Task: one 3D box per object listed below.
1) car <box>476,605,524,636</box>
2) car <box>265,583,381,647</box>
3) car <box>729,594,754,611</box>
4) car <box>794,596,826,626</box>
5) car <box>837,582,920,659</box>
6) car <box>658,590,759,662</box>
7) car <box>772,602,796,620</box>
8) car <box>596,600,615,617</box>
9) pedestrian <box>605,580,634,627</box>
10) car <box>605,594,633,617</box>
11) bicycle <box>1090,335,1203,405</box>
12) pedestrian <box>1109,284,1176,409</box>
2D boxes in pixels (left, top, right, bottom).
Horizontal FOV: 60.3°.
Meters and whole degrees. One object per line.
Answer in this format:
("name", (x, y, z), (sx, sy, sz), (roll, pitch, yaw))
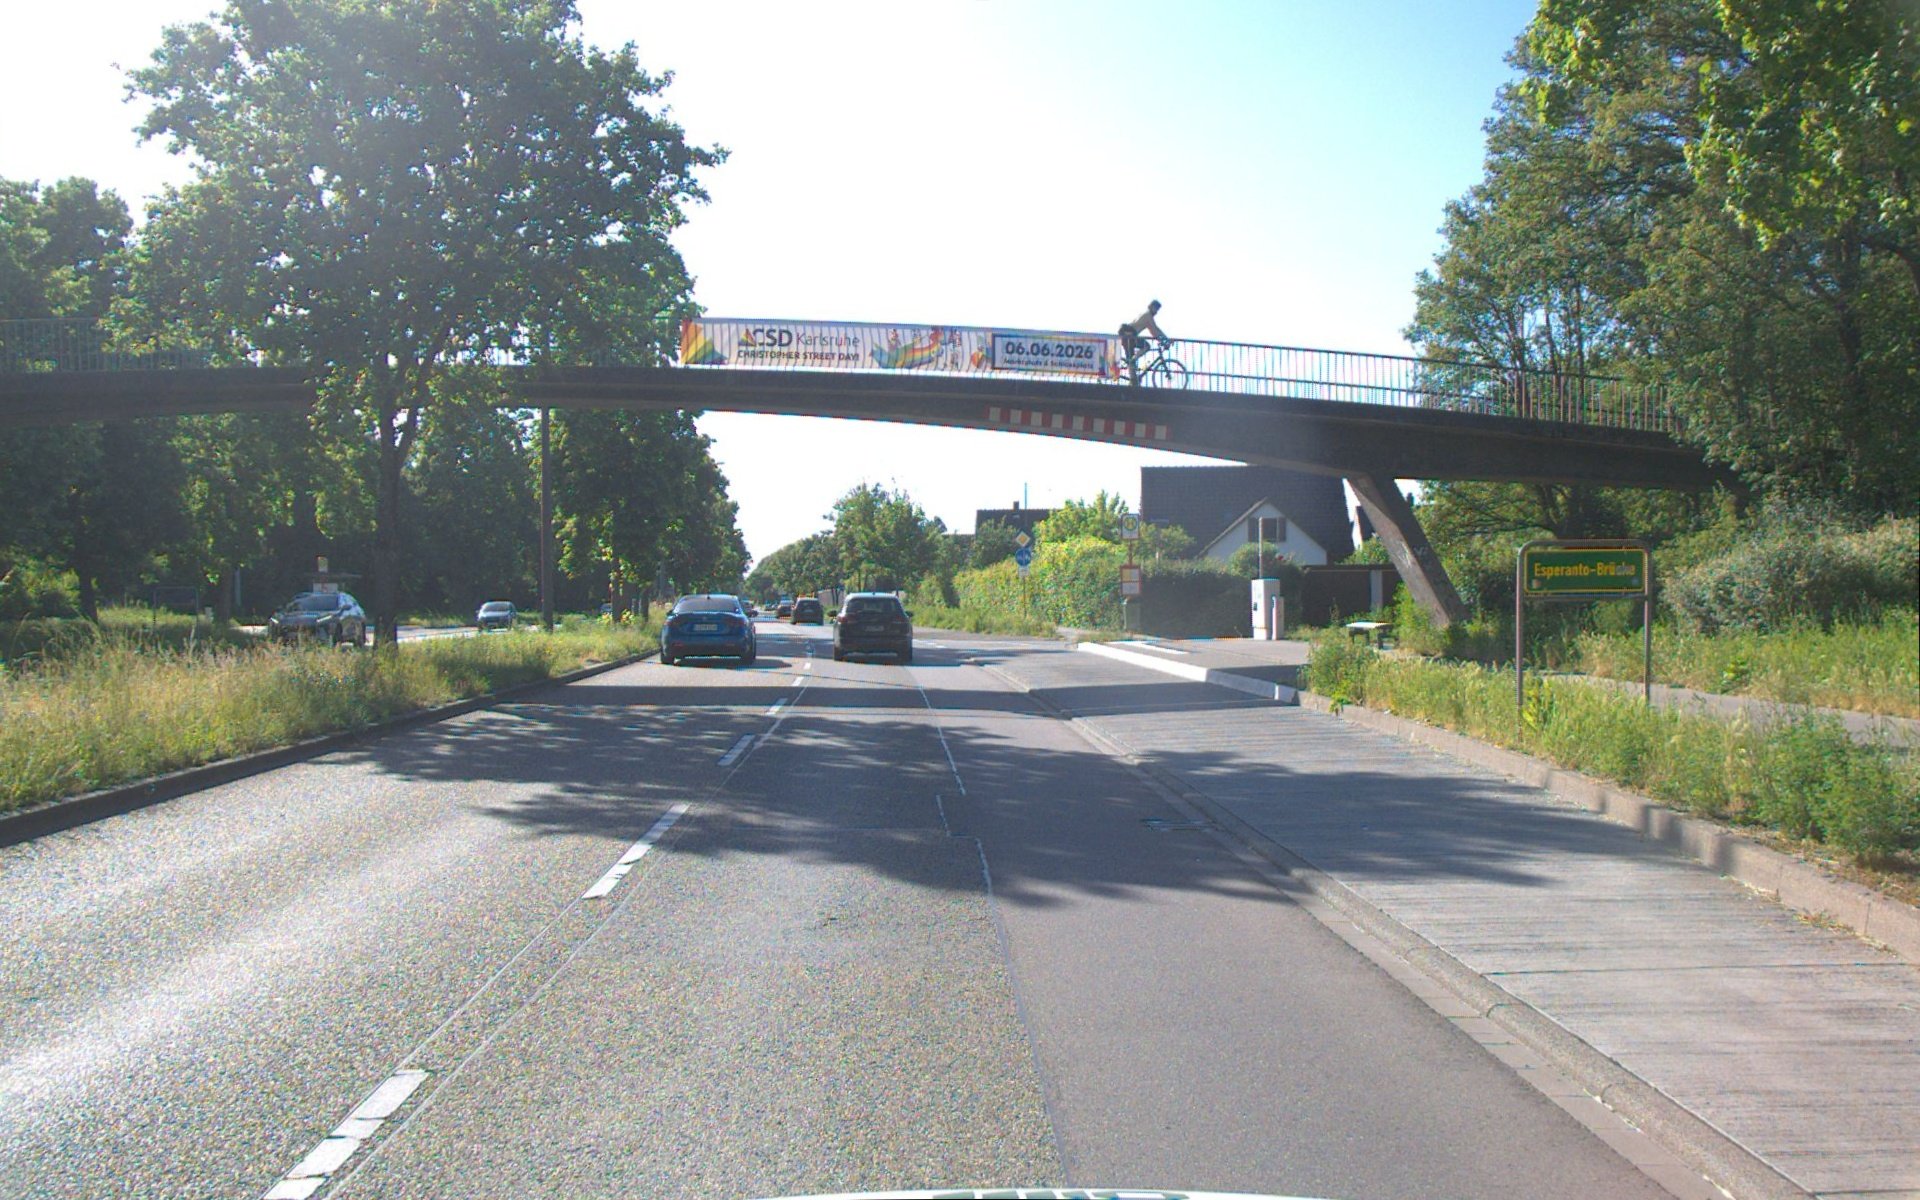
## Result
("car", (-23.046, 1.014, 83.027), (1.510, 1.456, 4.251), (-2, 0, -5))
("car", (-18.323, 0.403, 47.810), (1.697, 1.675, 4.896), (-2, 0, -4))
("car", (-19.353, 0.221, 146.555), (1.943, 1.465, 3.989), (0, 1, -12))
("car", (-8.549, 0.624, 93.955), (1.710, 1.625, 4.169), (0, 1, -6))
("car", (-1.888, 0.457, 37.278), (1.726, 1.586, 3.996), (1, -1, -4))
("car", (-5.276, 0.505, 35.093), (1.956, 1.429, 3.995), (0, 0, -6))
("car", (-14.314, 0.894, 134.419), (1.863, 1.379, 3.993), (0, 1, -8))
("car", (-34.736, 0.862, 162.287), (1.773, 1.526, 4.583), (1, 1, -12))
("pedestrian", (-12.542, 0.117, 60.930), (0.617, 1.726, 0.943), (0, 0, 22))
("car", (-25.042, 0.389, 121.416), (1.698, 1.660, 4.190), (-1, 0, -8))
("bicycle", (3.439, -4.250, 30.630), (1.950, 1.127, 0.727), (1, 0, -5))
("pedestrian", (3.370, -4.683, 30.639), (1.045, 2.161, 0.996), (0, 0, -5))
